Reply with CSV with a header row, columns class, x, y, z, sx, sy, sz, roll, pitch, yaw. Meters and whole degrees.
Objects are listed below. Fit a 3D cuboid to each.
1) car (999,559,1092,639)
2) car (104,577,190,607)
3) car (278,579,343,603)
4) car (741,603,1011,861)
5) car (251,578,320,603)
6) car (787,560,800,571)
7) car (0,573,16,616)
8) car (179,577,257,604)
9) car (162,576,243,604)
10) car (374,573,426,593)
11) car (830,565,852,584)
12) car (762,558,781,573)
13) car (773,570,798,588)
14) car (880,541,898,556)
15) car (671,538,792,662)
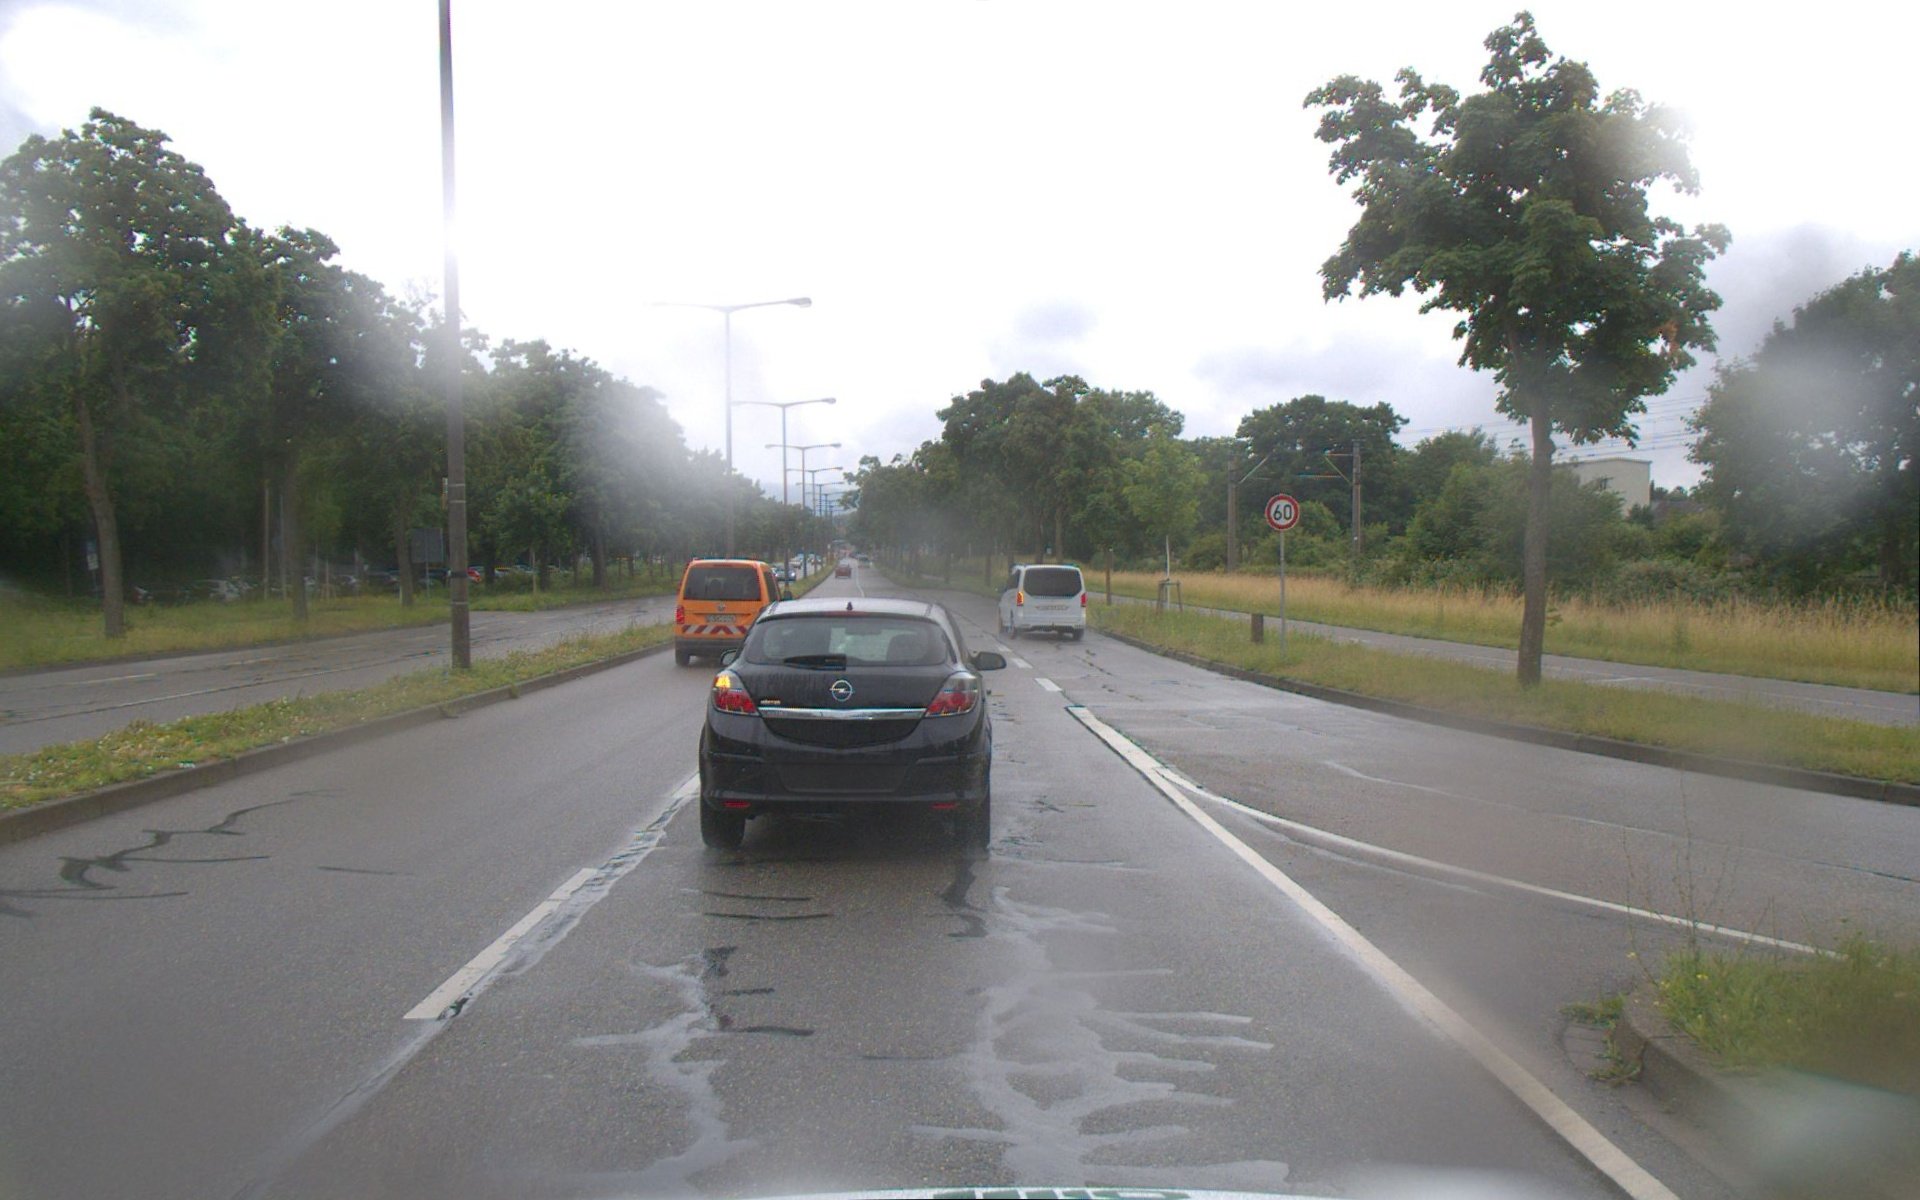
class,x,y,z,sx,sy,sz,roll,pitch,yaw
car,2.203,-0.052,43.931,2.018,2.009,4.606,1,1,-3
car,-41.648,-0.437,84.772,3.663,1.451,1.486,-1,1,-7
car,-43.238,-0.595,110.187,3.762,1.477,1.522,-1,1,-7
car,-0.438,0.708,10.718,1.433,1.352,3.758,0,0,0
car,-42.899,-0.603,105.262,3.762,1.477,1.522,-1,1,-7
car,-24.980,-5.153,248.014,1.686,1.555,3.808,0,2,-2
car,-39.496,-0.207,64.733,3.911,1.668,1.909,-1,1,-7
car,-42.605,-0.561,95.049,3.762,1.477,1.522,-1,1,-7
car,-42.286,-0.548,92.385,3.762,1.477,1.522,-1,1,-7
car,-43.954,-1.336,129.878,3.775,1.477,1.517,-1,1,-18
car,-12.307,-2.619,171.065,1.952,1.912,4.000,1,1,0
car,-19.947,-3.659,175.220,1.686,1.555,3.808,0,2,-2
car,-14.777,-1.799,140.037,1.790,1.475,3.808,0,1,-2
car,-10.527,-7.595,244.149,2.466,2.088,5.290,2,1,-3
car,-4.055,-0.042,30.021,1.700,2.054,4.847,0,1,-2
